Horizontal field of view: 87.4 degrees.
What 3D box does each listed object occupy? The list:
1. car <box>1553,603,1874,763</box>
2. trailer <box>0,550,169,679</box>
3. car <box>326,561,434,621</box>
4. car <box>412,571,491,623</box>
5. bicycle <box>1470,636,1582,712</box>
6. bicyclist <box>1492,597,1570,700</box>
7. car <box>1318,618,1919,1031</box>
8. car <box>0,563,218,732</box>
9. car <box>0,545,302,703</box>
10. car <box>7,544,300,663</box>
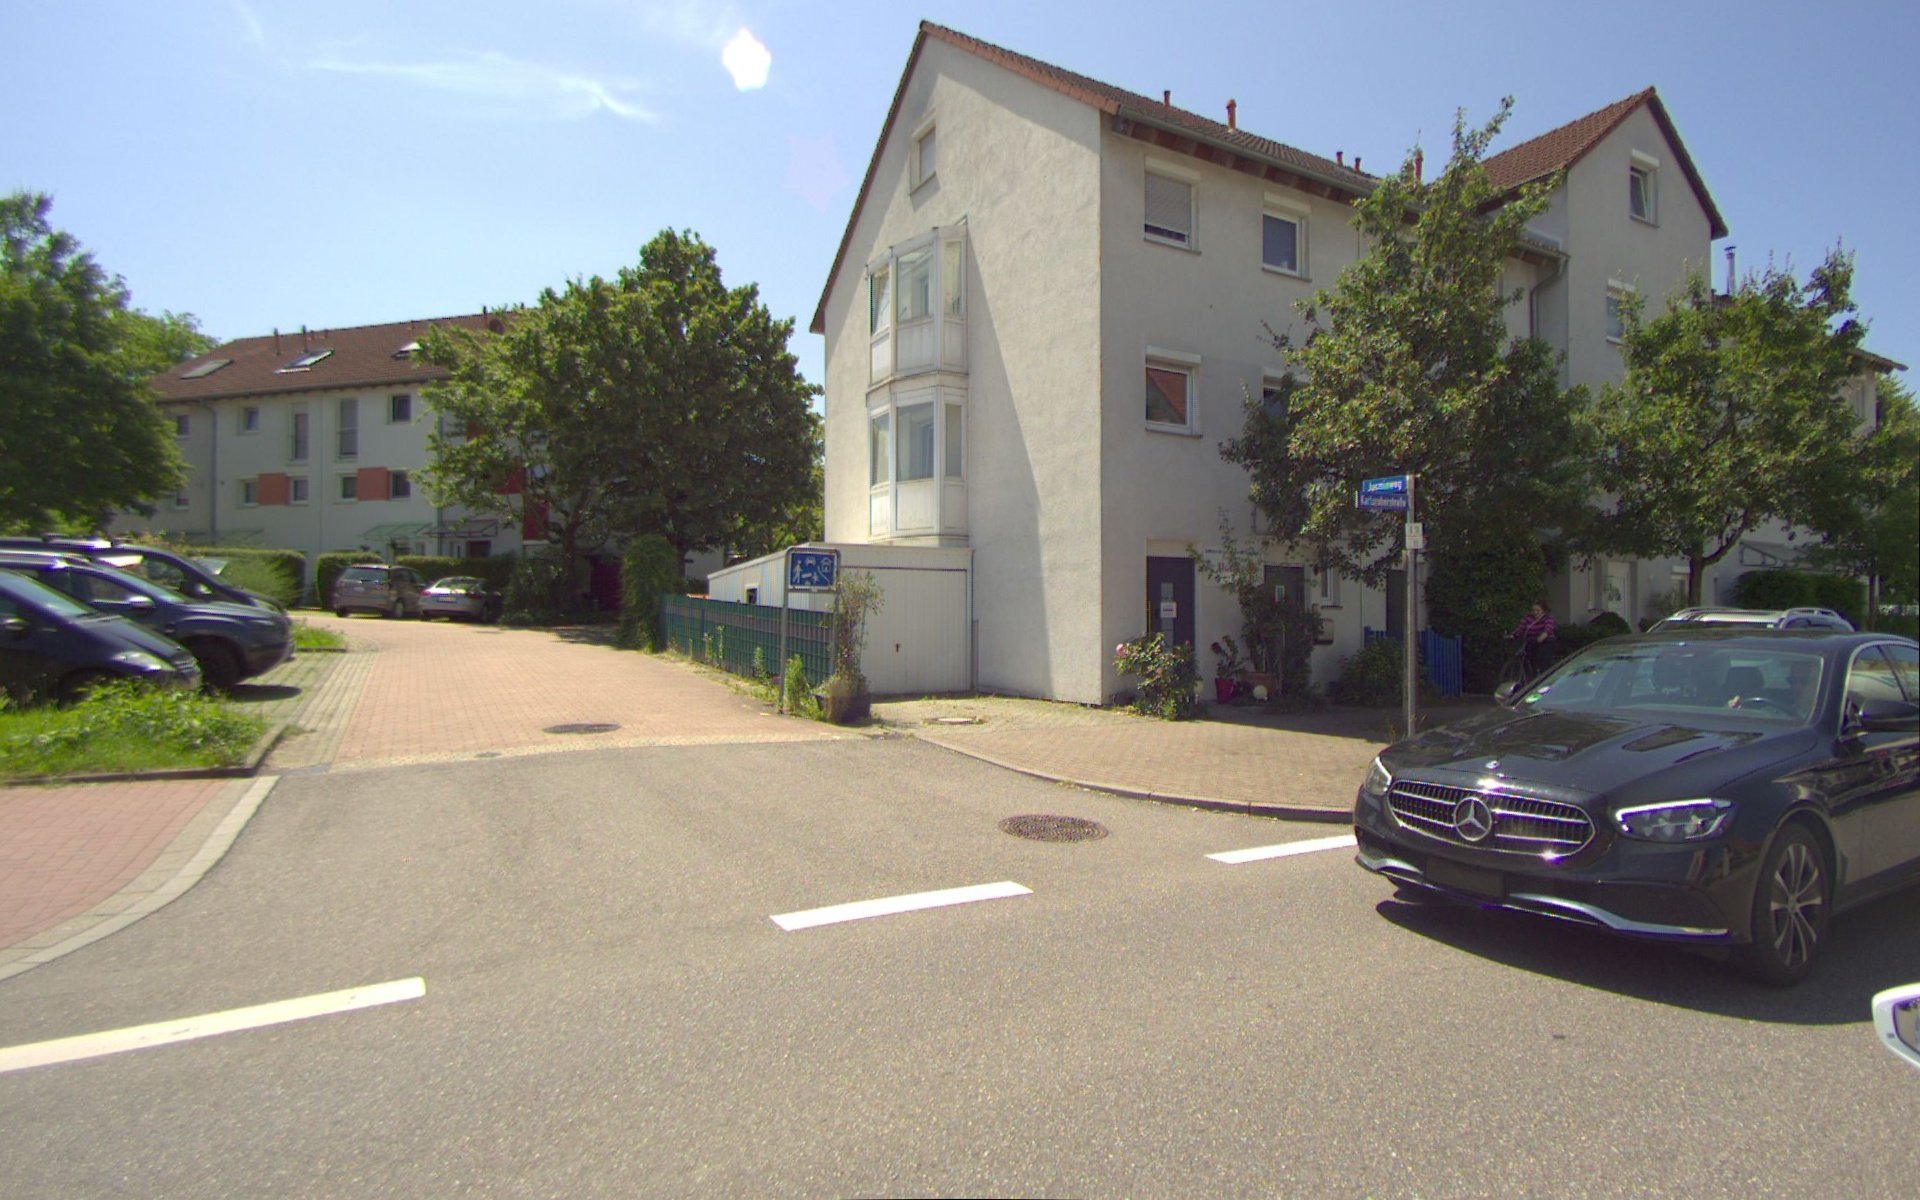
[{"bbox_3d":[9.555,0.920,12.646,4.474,1.709,1.697,1,0,-31],"label":"car"},{"bbox_3d":[-12.872,0.179,14.090,2.665,1.686,1.417,1,3,-35],"label":"trailer"},{"bbox_3d":[-17.474,-0.279,30.455,1.720,1.645,3.988,2,0,-14],"label":"car"},{"bbox_3d":[-15.336,-0.107,30.456,1.667,1.447,3.980,1,1,-21],"label":"car"},{"bbox_3d":[8.706,1.108,15.430,2.005,1.070,0.667,1,0,-34],"label":"bicycle"},{"bbox_3d":[8.804,0.726,15.487,0.900,1.514,0.654,1,2,-34],"label":"bicyclist"},{"bbox_3d":[4.242,0.865,5.567,4.640,1.479,1.722,1,-2,-31],"label":"car"},{"bbox_3d":[-9.707,0.420,9.888,3.605,1.561,1.617,1,1,-27],"label":"car"},{"bbox_3d":[-10.469,0.272,12.631,3.465,1.804,1.617,1,1,-27],"label":"car"},{"bbox_3d":[-13.190,0.064,16.705,3.506,1.805,1.617,1,1,-27],"label":"car"}]
